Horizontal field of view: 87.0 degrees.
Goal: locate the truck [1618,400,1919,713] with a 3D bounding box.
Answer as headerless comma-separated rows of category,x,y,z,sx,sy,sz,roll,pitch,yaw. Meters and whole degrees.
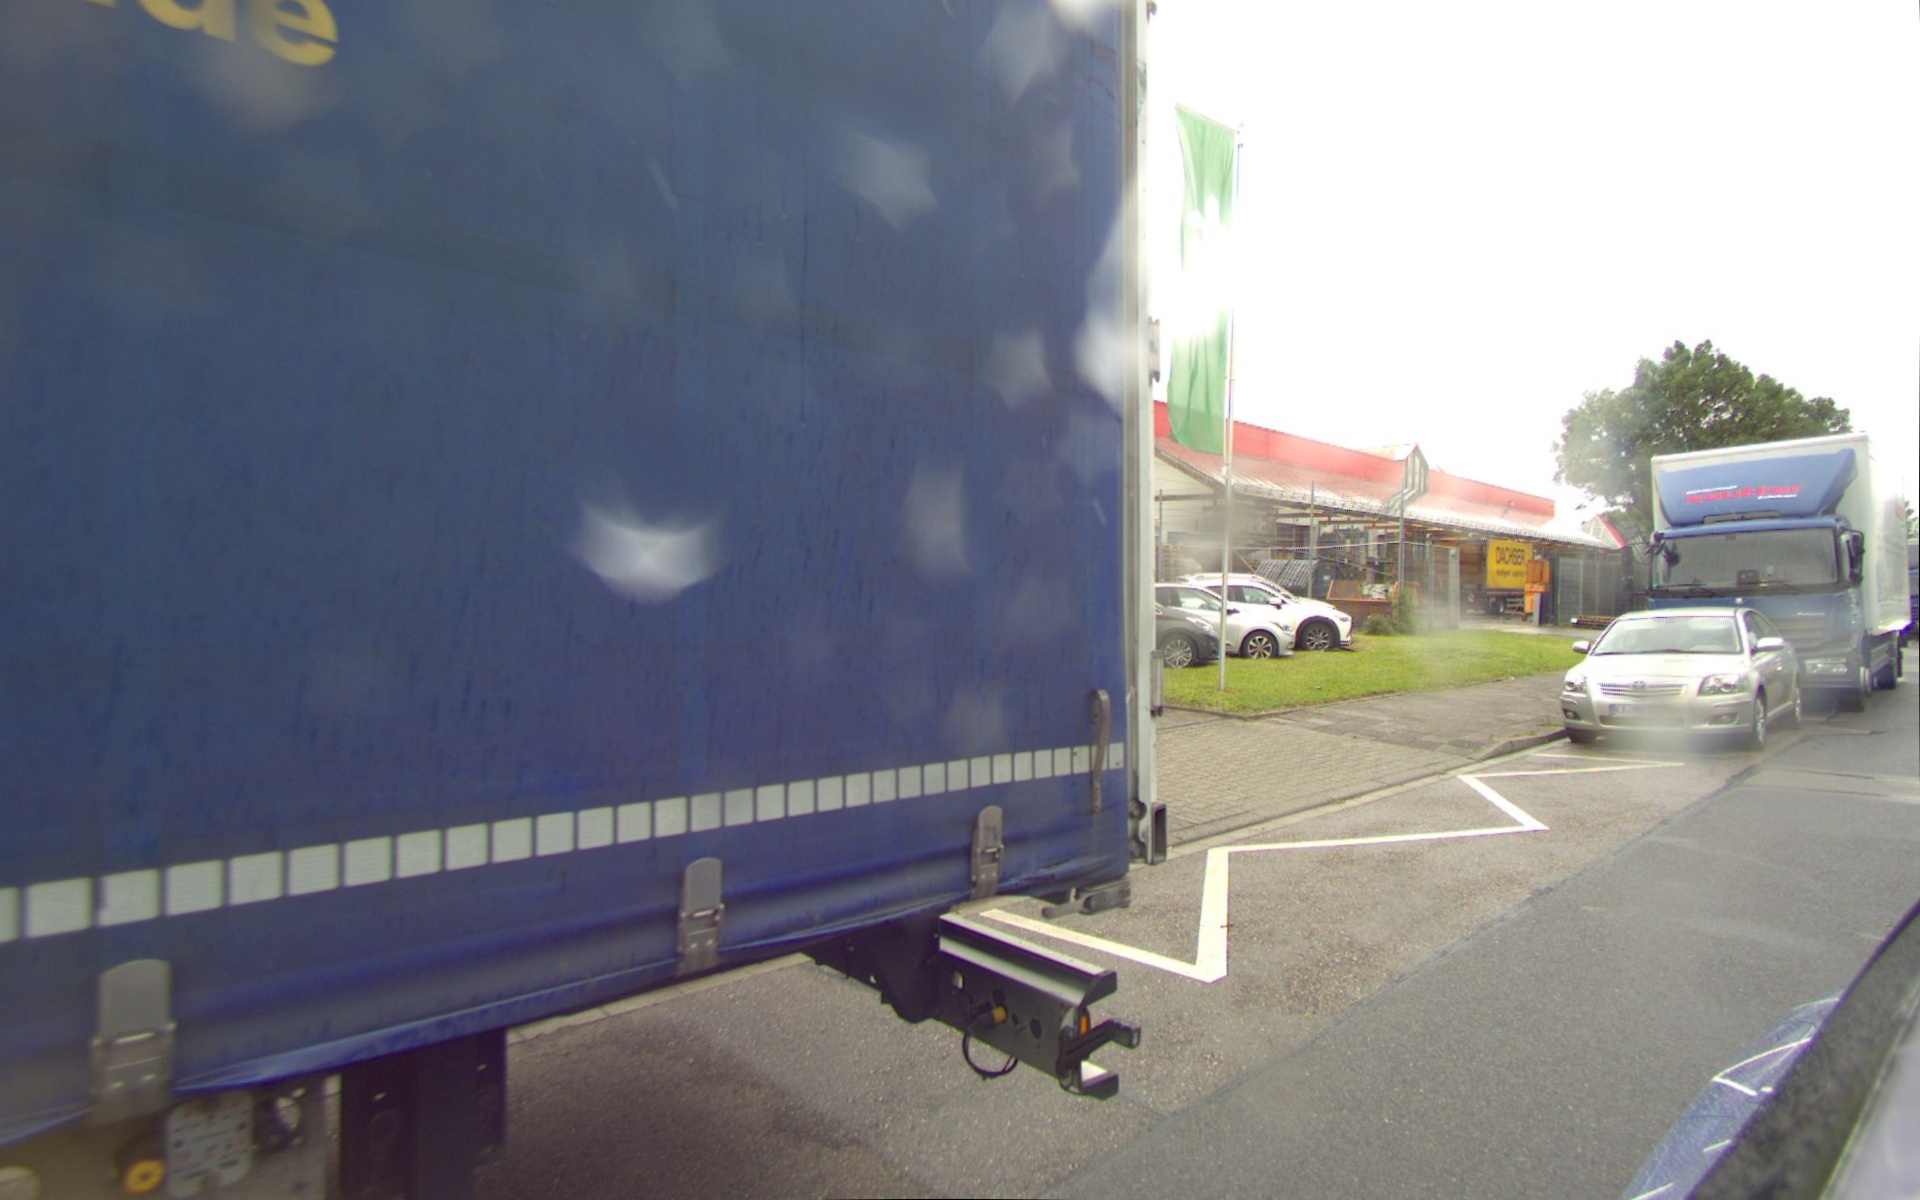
truck,13.644,-0.538,16.566,9.145,3.838,2.743,0,-1,-44

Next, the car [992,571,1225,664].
car,2.413,0.258,17.129,3.700,1.410,1.706,1,2,4

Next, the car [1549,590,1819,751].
car,8.389,0.636,11.576,4.274,1.459,1.799,0,2,-45

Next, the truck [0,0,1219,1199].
truck,-3.216,-0.433,0.713,7.615,3.657,2.745,0,-1,-41

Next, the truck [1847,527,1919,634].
truck,36.014,-0.679,38.529,7.878,3.739,2.673,0,-1,-44

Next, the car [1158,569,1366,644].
car,6.409,0.114,21.821,3.926,1.488,1.775,1,1,2

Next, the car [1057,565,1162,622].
car,4.001,-0.196,26.888,2.702,1.443,1.399,0,2,-44

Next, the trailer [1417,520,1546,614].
trailer,26.169,-1.561,50.516,9.317,4.295,2.968,0,1,-45

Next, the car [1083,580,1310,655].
car,4.408,0.298,19.318,3.926,1.302,1.706,1,1,2

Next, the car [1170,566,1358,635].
car,7.215,-0.012,24.341,3.925,1.546,1.873,1,1,2
